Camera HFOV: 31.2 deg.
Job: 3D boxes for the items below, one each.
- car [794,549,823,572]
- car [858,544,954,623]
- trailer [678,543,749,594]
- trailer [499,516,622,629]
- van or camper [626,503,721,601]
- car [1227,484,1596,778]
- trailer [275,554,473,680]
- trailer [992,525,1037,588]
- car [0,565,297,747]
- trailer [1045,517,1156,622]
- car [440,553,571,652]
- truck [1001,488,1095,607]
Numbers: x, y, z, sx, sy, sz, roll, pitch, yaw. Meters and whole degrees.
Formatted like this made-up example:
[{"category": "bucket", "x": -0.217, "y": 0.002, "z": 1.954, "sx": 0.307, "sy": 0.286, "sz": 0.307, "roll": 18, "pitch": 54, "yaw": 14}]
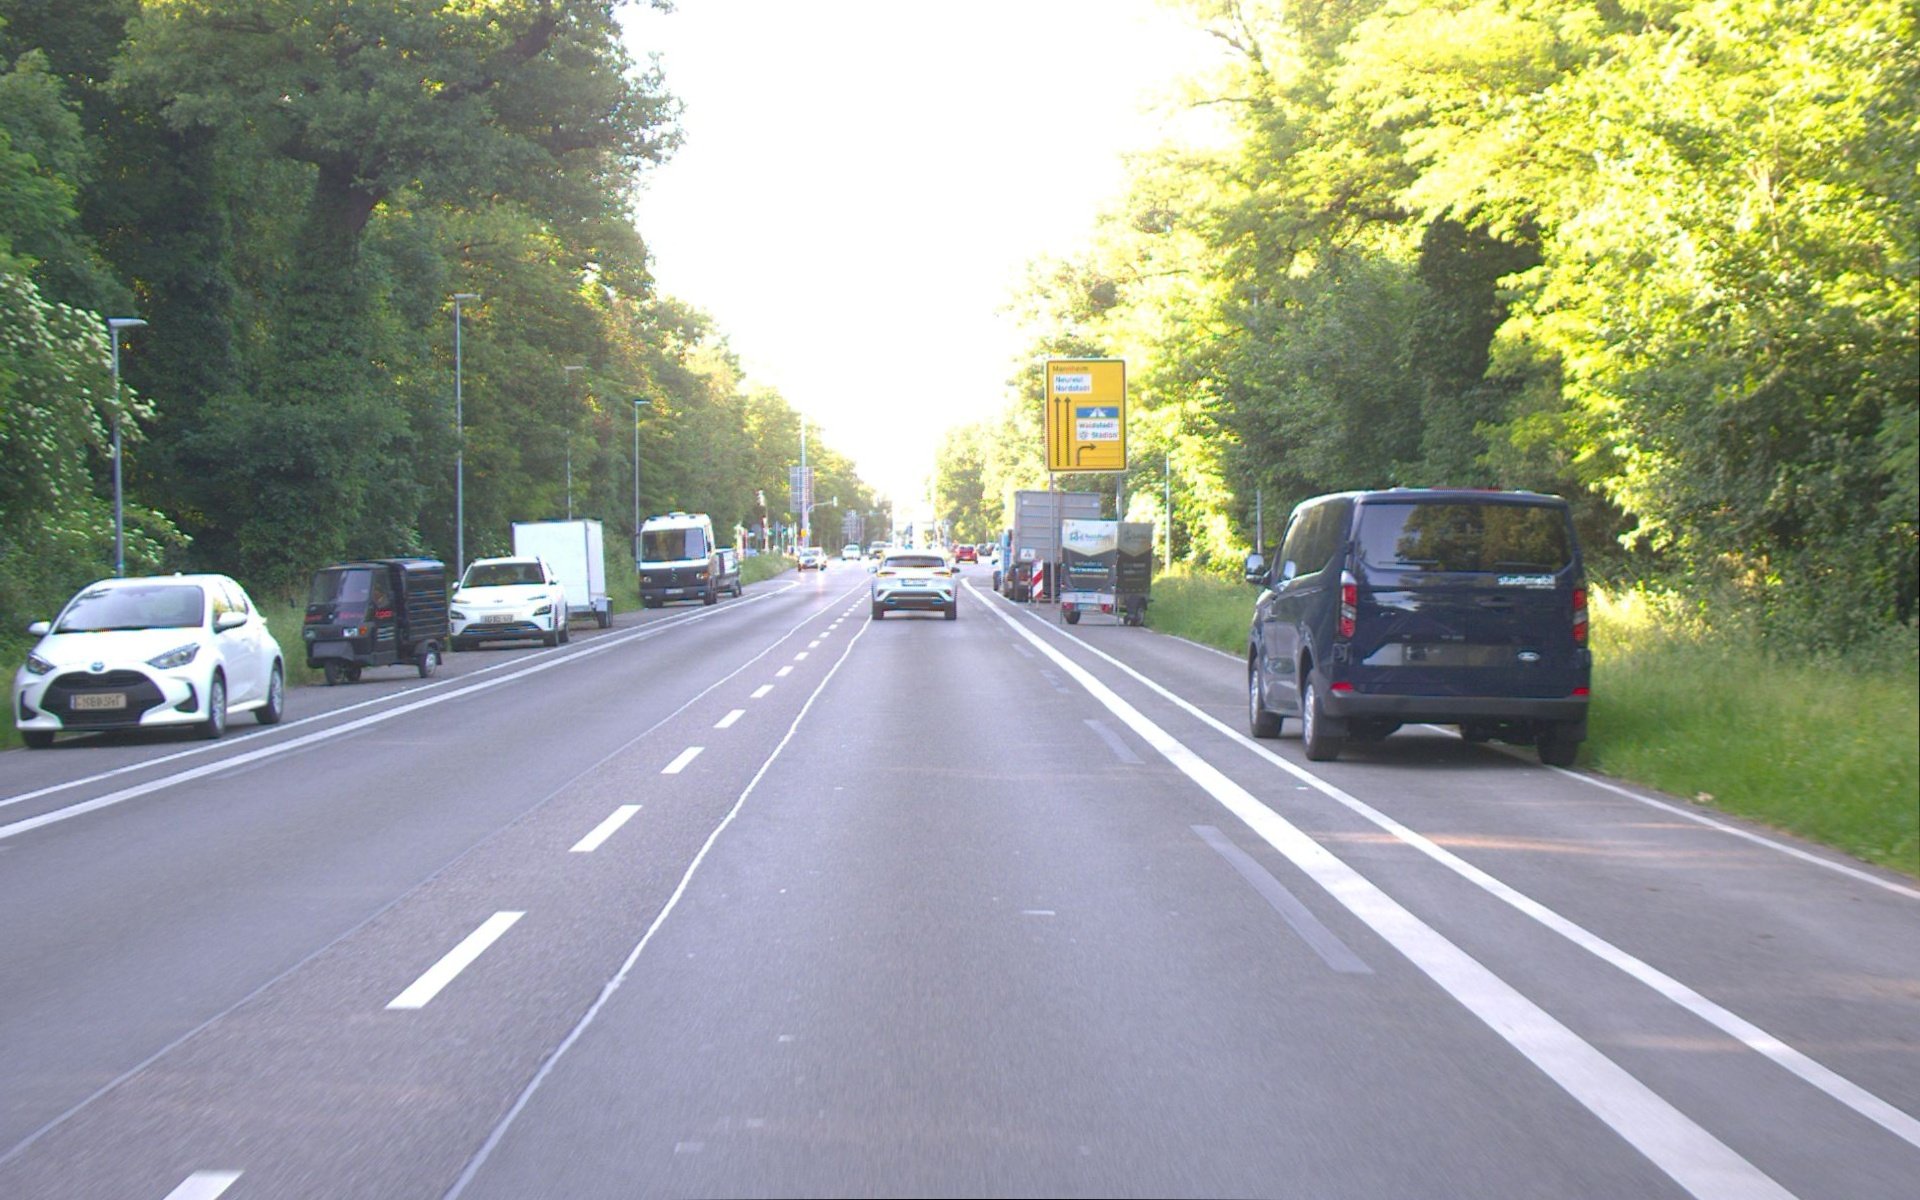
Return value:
[{"category": "car", "x": -9.750, "y": -2.544, "z": 221.269, "sx": 1.678, "sy": 1.411, "sz": 4.000, "roll": -1, "pitch": 1, "yaw": 0}, {"category": "car", "x": -1.159, "y": -0.382, "z": 74.333, "sx": 1.993, "sy": 1.634, "sz": 4.000, "roll": -1, "pitch": 1, "yaw": -1}, {"category": "trailer", "x": -8.392, "y": -1.092, "z": 117.059, "sx": 1.471, "sy": 1.654, "sz": 3.364, "roll": -2, "pitch": 0, "yaw": 12}, {"category": "trailer", "x": -8.443, "y": -0.602, "z": 72.968, "sx": 2.075, "sy": 2.285, "sz": 3.486, "roll": -1, "pitch": 1, "yaw": 1}, {"category": "van or camper", "x": -8.594, "y": -1.454, "z": 103.512, "sx": 2.302, "sy": 2.758, "sz": 5.557, "roll": -3, "pitch": 1, "yaw": 0}, {"category": "car", "x": 3.365, "y": 0.179, "z": 26.645, "sx": 2.113, "sy": 2.007, "sz": 5.040, "roll": 1, "pitch": 1, "yaw": 0}, {"category": "trailer", "x": -7.583, "y": 0.204, "z": 44.678, "sx": 1.397, "sy": 1.568, "sz": 2.672, "roll": 0, "pitch": 1, "yaw": 20}, {"category": "trailer", "x": 1.955, "y": -1.582, "z": 124.211, "sx": 1.500, "sy": 2.228, "sz": 4.550, "roll": 1, "pitch": 1, "yaw": 0}, {"category": "car", "x": -7.439, "y": 0.459, "z": 31.607, "sx": 1.867, "sy": 1.445, "sz": 4.071, "roll": -3, "pitch": 1, "yaw": -1}, {"category": "trailer", "x": 2.909, "y": -0.637, "z": 70.825, "sx": 1.616, "sy": 2.105, "sz": 2.394, "roll": 1, "pitch": 1, "yaw": 20}, {"category": "car", "x": -7.810, "y": 0.013, "z": 59.366, "sx": 1.814, "sy": 1.566, "sz": 4.207, "roll": -3, "pitch": 1, "yaw": -3}, {"category": "truck", "x": 2.527, "y": -1.516, "z": 100.677, "sx": 2.505, "sy": 3.355, "sz": 7.107, "roll": 1, "pitch": 1, "yaw": 0}]
